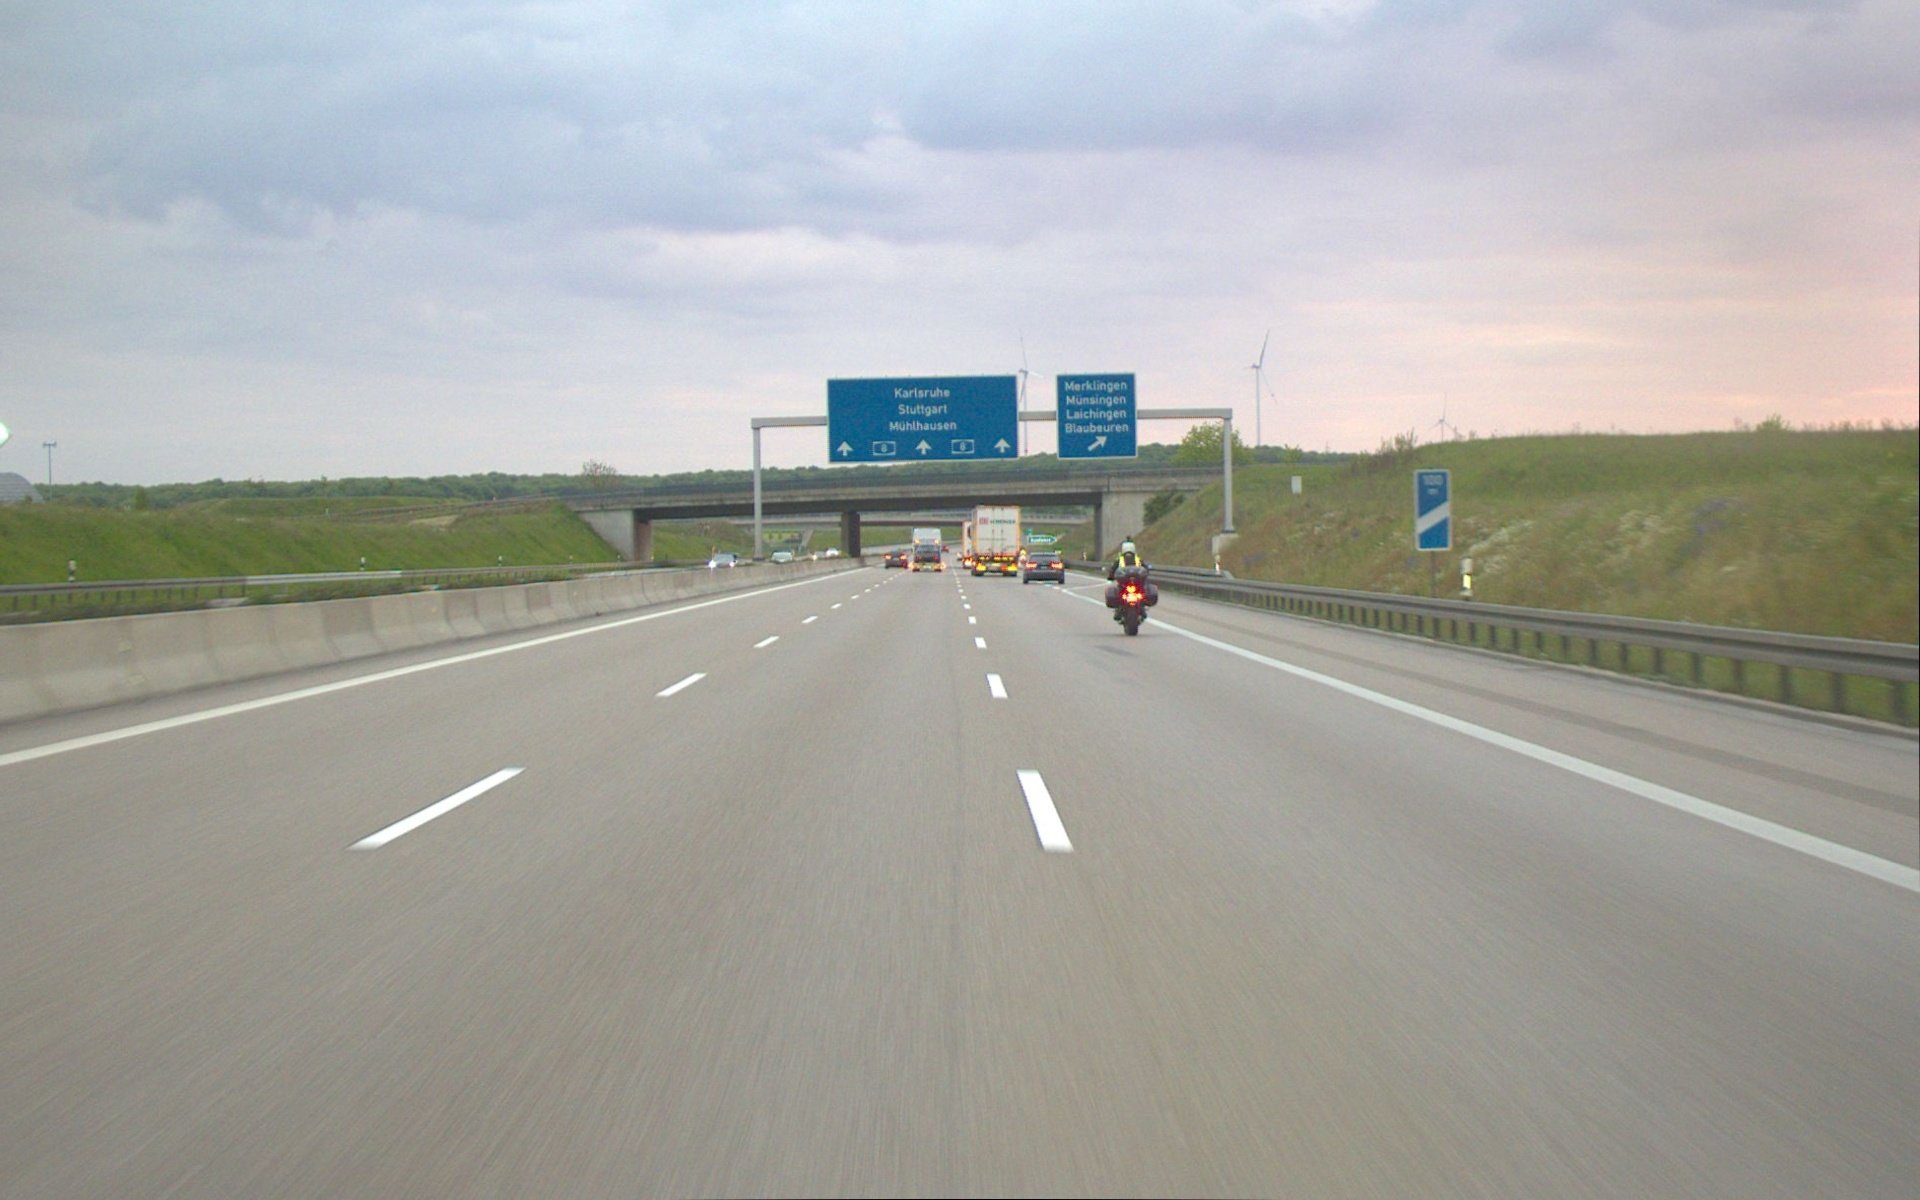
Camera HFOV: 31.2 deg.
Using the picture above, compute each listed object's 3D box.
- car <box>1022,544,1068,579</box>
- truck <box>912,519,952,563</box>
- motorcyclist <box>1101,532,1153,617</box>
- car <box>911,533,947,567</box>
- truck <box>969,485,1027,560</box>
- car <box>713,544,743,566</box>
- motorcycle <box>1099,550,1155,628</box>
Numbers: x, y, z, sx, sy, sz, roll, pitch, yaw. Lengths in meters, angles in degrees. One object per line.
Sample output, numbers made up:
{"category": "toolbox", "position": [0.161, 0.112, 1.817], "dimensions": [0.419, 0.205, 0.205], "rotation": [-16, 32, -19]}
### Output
{"category": "car", "position": [3.891, -1.779, 157.850], "dimensions": [1.918, 1.574, 4.000], "rotation": [0, 1, -1]}
{"category": "truck", "position": [-2.131, -4.469, 258.655], "dimensions": [2.951, 3.206, 8.406], "rotation": [1, 2, -1]}
{"category": "motorcyclist", "position": [2.996, -0.464, 61.770], "dimensions": [0.866, 1.482, 1.168], "rotation": [1, 1, 1]}
{"category": "car", "position": [-2.211, -3.549, 242.703], "dimensions": [2.516, 2.383, 6.497], "rotation": [0, 1, -1]}
{"category": "truck", "position": [2.152, -4.527, 199.433], "dimensions": [3.234, 4.213, 9.599], "rotation": [1, 2, 0]}
{"category": "car", "position": [-17.090, -3.342, 253.109], "dimensions": [2.002, 1.582, 4.573], "rotation": [0, 1, -2]}
{"category": "motorcycle", "position": [3.011, -0.213, 62.067], "dimensions": [0.902, 1.342, 2.349], "rotation": [0, 2, 0]}
